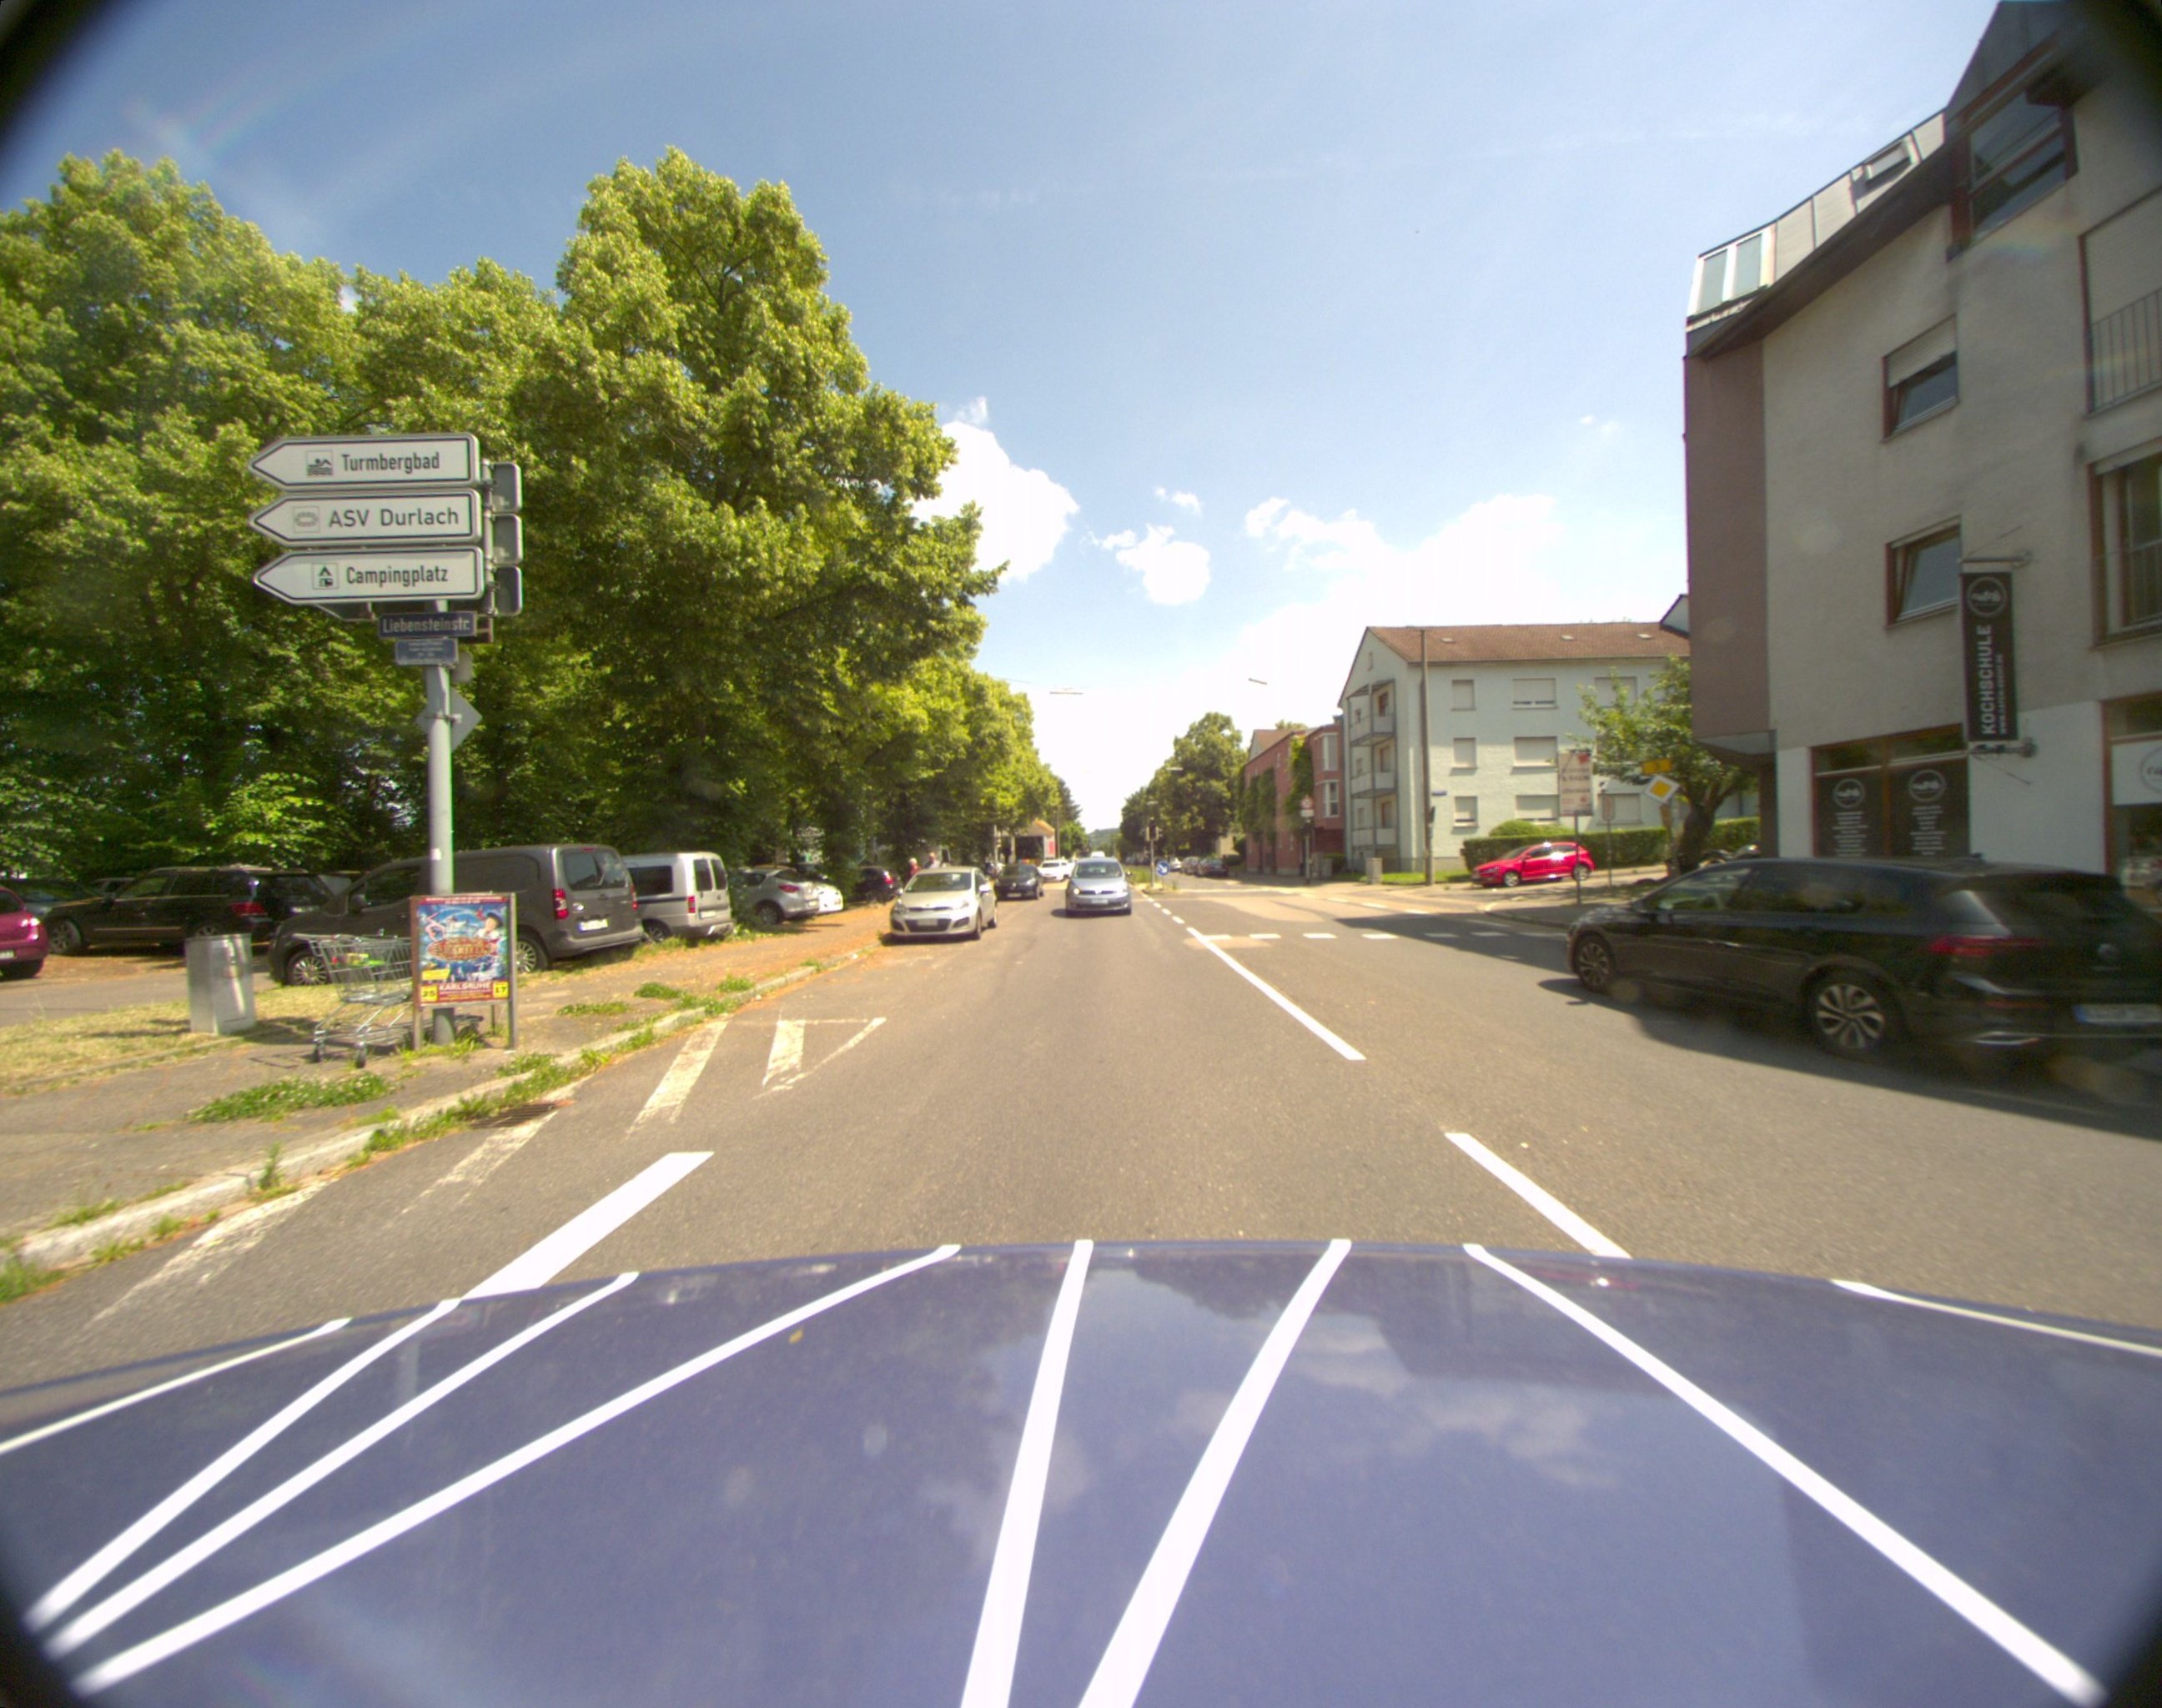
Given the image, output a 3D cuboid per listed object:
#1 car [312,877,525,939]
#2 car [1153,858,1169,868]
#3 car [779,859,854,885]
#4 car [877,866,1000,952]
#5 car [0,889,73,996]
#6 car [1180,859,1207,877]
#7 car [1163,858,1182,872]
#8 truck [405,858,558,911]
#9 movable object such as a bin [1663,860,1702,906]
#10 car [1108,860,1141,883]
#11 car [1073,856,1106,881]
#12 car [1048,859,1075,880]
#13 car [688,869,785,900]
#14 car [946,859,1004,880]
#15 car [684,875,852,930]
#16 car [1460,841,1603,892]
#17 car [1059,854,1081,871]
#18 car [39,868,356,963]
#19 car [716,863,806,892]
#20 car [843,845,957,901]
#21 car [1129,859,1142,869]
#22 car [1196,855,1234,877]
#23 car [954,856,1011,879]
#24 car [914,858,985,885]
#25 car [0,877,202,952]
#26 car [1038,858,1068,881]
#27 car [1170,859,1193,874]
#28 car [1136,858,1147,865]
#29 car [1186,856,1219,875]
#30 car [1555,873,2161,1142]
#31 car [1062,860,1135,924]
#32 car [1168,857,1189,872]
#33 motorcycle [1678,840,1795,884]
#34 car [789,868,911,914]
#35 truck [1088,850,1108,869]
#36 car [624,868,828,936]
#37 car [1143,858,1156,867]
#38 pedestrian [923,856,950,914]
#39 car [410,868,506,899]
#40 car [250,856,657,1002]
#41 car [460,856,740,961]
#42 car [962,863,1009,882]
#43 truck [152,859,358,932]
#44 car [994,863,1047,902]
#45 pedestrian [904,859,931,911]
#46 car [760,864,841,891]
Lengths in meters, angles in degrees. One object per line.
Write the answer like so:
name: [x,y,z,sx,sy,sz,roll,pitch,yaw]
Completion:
car: [-17.052,1.359,19.693,3.997,1.474,1.681,0,0,-1]
car: [11.077,1.186,105.078,1.757,1.325,3.608,-2,0,0]
car: [-17.132,1.148,49.348,4.265,1.578,1.818,0,0,-5]
car: [-2.857,1.057,16.072,1.771,1.476,3.891,-2,0,1]
car: [-17.728,1.321,10.983,3.997,1.519,1.681,0,0,-1]
car: [10.134,1.223,68.697,1.752,1.499,4.000,-2,0,0]
car: [10.502,1.226,87.306,1.572,1.499,4.000,-2,0,0]
truck: [-21.706,1.086,27.598,4.130,1.804,1.879,-1,0,3]
movable object such as a bin: [14.968,0.712,18.907,0.674,1.090,0.631,-1,0,-39]
car: [3.090,1.259,54.959,1.868,1.516,4.291,-2,0,-3]
car: [0.621,0.978,52.974,1.998,1.652,4.627,-1,0,4]
car: [-1.496,1.183,60.156,1.867,1.516,4.209,-2,0,2]
car: [-17.017,1.479,37.639,3.996,1.464,1.805,0,0,3]
car: [-7.308,1.059,52.525,3.848,1.350,1.629,-2,0,-7]
car: [-8.660,1.321,21.249,3.996,1.419,1.669,-1,0,2]
car: [16.093,0.475,27.287,3.997,1.443,1.733,-5,-2,0]
car: [-0.948,0.767,67.210,1.775,1.434,3.339,-2,0,2]
car: [-16.861,1.131,14.670,3.998,1.669,1.701,0,0,-2]
car: [-17.058,1.246,40.587,3.996,1.464,1.805,0,0,3]
car: [-8.267,0.861,34.969,4.613,2.263,2.106,-3,0,2]
car: [8.897,1.572,124.118,1.752,1.499,4.000,-2,0,0]
car: [9.850,0.892,56.214,1.891,1.530,4.568,-1,0,-1]
car: [-7.271,0.993,56.330,3.763,1.526,1.631,-2,0,12]
car: [-8.187,1.064,47.447,4.078,1.485,1.636,-2,0,0]
car: [-21.698,1.261,16.219,3.807,1.451,1.738,-1,0,0]
car: [-1.885,1.048,52.441,1.721,1.434,4.112,-3,0,2]
car: [9.981,1.201,75.631,1.752,1.433,4.000,-2,0,0]
car: [11.468,1.451,143.568,1.757,1.325,3.608,-2,0,0]
car: [9.939,0.921,62.574,1.891,1.530,4.568,-1,0,-1]
car: [6.174,0.910,6.362,1.747,1.411,4.223,0,0,-1]
car: [0.483,0.960,20.745,1.747,1.512,4.223,-1,0,1]
car: [10.509,1.101,82.141,1.752,1.499,4.000,-2,0,0]
motorcycle: [19.272,0.260,22.419,0.930,1.028,2.386,-4,-4,-18]
car: [-8.681,1.370,28.729,3.996,1.464,1.717,-3,0,3]
truck: [2.095,0.646,91.714,1.866,2.211,4.507,-2,0,6]
car: [-8.399,1.120,18.252,3.997,1.390,1.808,-2,0,0]
car: [11.436,1.429,126.714,1.757,1.325,3.608,-2,0,0]
pedestrian: [-4.493,0.952,23.688,0.618,1.754,0.737,-2,0,1]
car: [-33.096,1.550,40.440,3.805,1.558,1.739,-1,0,5]
car: [-8.586,0.964,10.720,3.997,1.740,2.016,-2,0,0]
car: [-8.239,0.893,13.295,3.774,1.657,1.663,-1,0,-3]
car: [-8.066,1.559,64.488,3.762,1.518,1.853,-1,0,-2]
truck: [-22.413,1.095,20.704,3.806,1.870,1.738,-1,0,3]
car: [-2.361,1.090,30.670,1.667,1.419,4.001,-2,0,2]
pedestrian: [-5.093,0.961,23.686,0.618,1.584,0.737,-2,0,1]
car: [-17.115,1.445,46.433,4.263,1.578,1.819,0,0,0]
